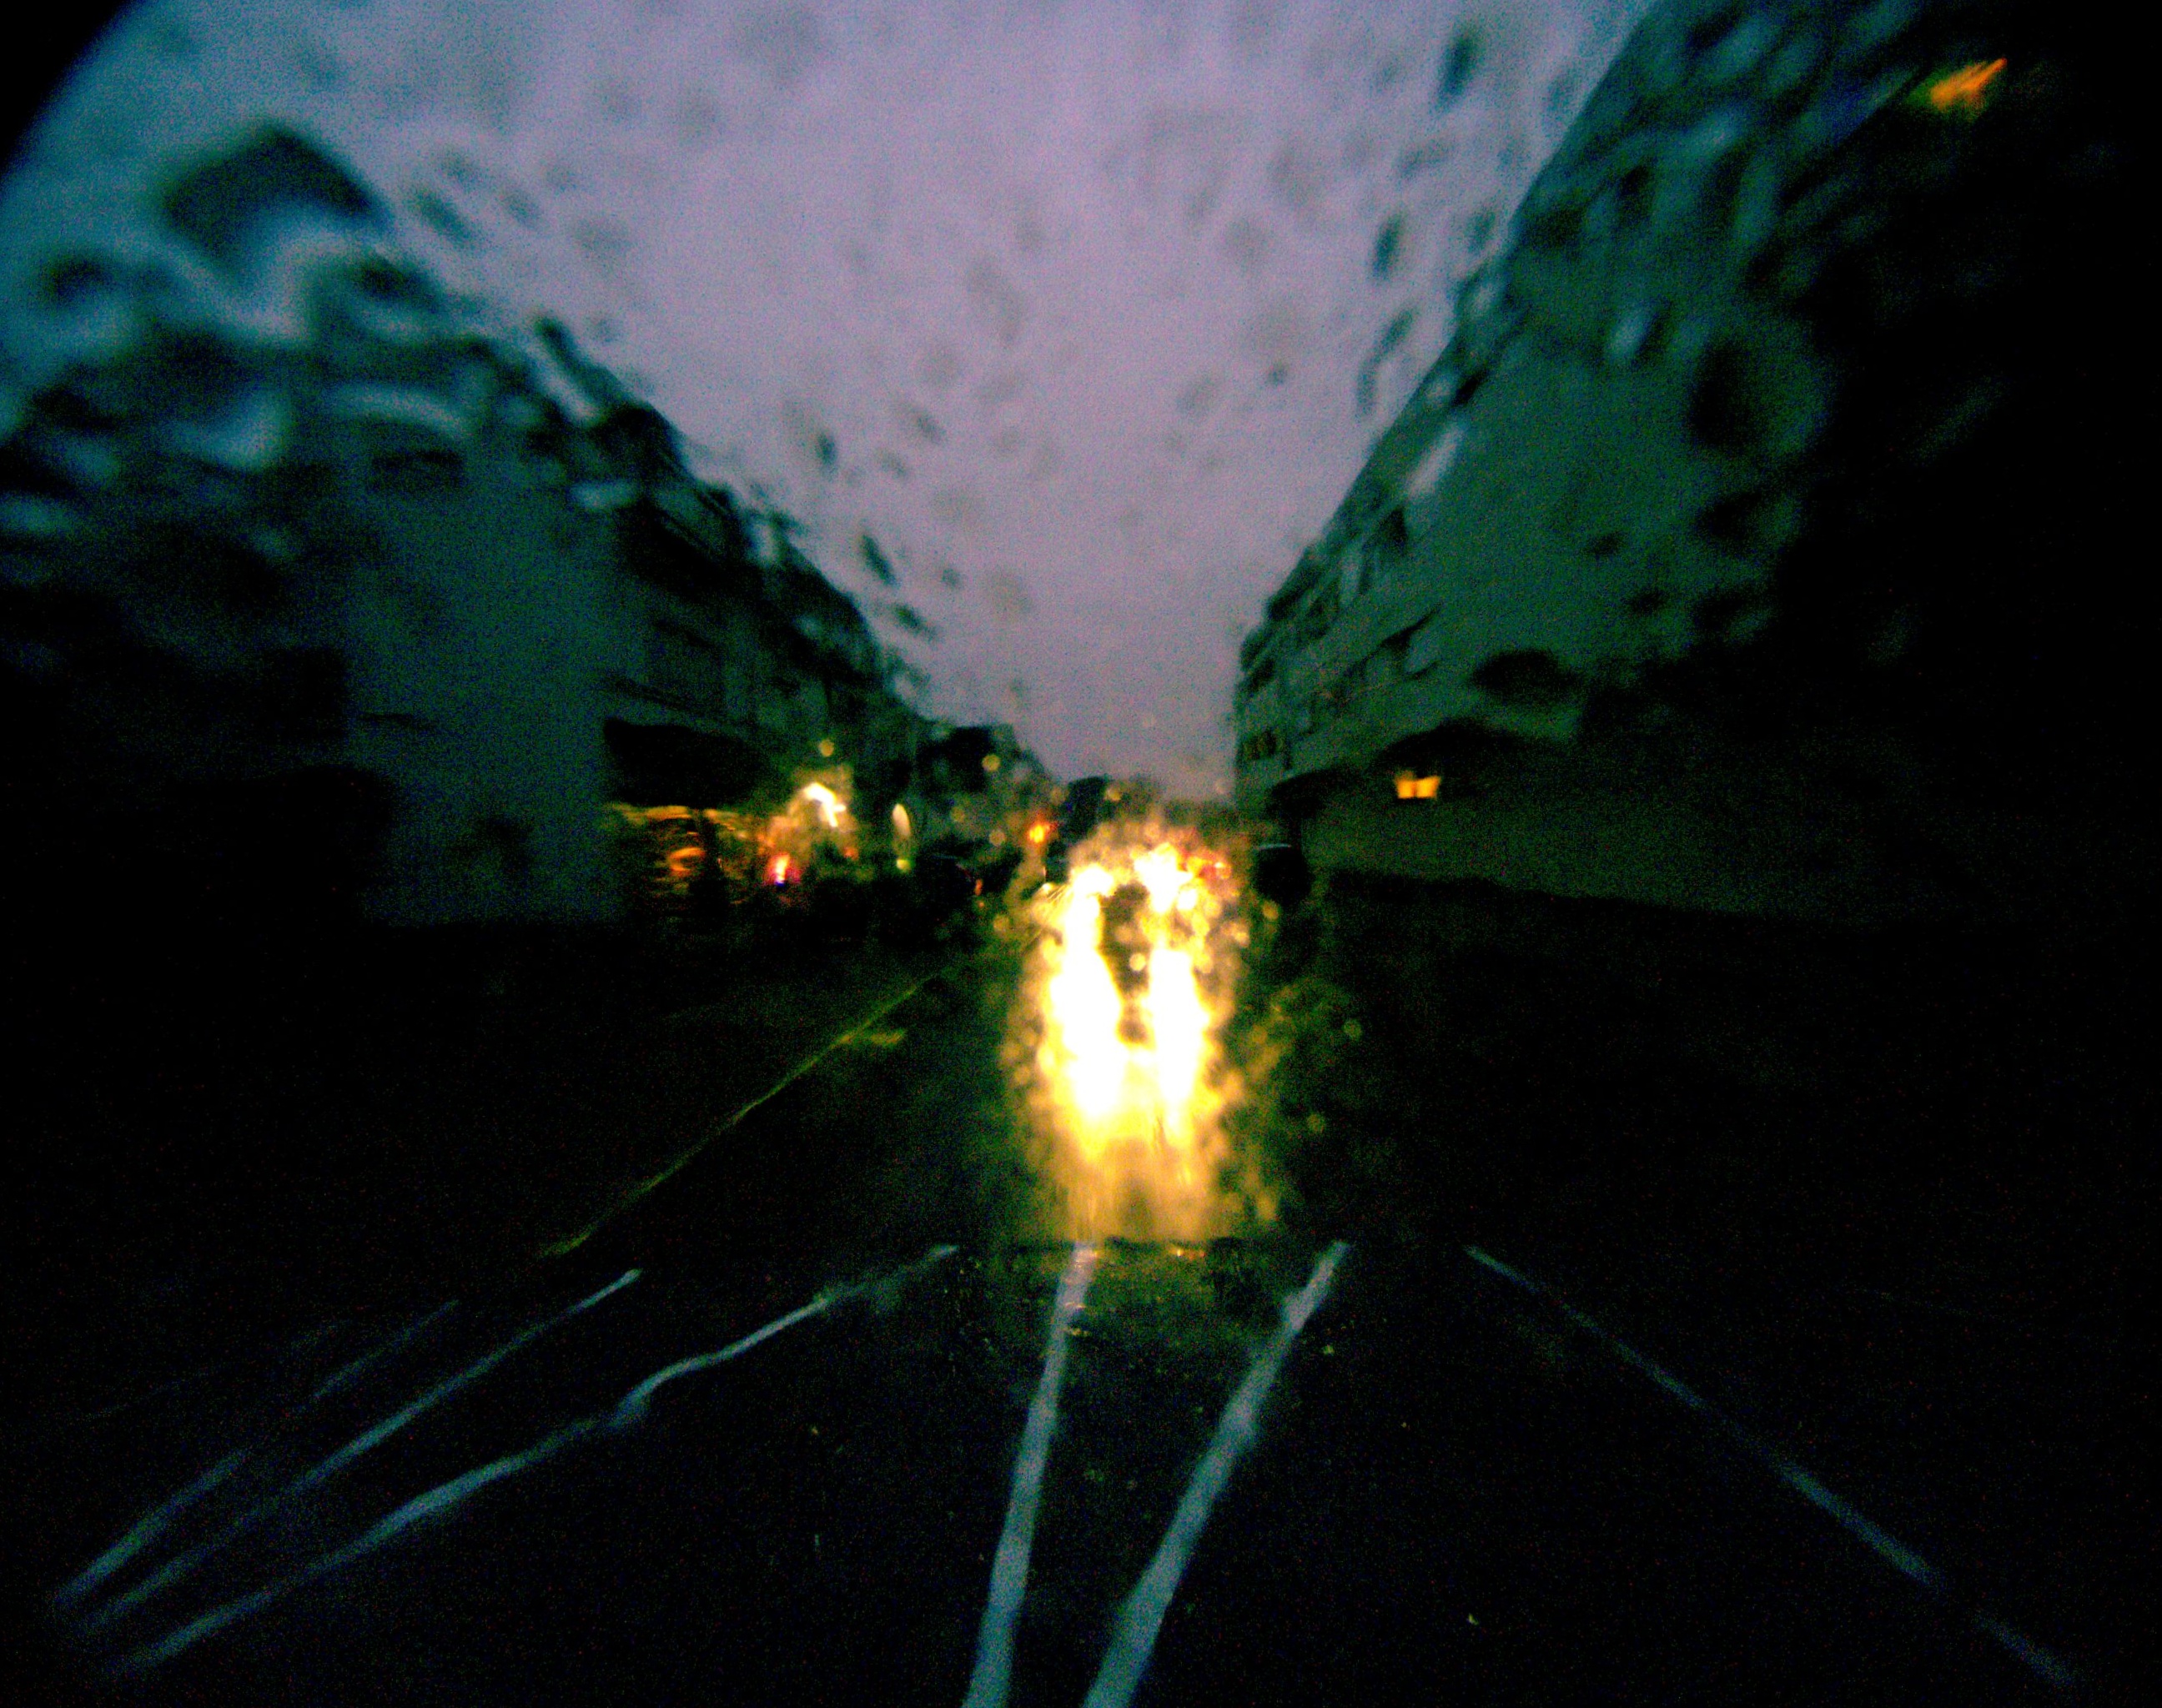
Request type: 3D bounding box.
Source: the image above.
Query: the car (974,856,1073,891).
[{"bbox_3d":[-2.293,0.774,30.931,3.887,1.359,1.551,0,0,2],"label":"car"}]

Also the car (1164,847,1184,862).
[{"bbox_3d":[11.150,0.043,90.840,1.921,1.608,3.872,-2,0,15],"label":"car"}]

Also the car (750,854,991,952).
[{"bbox_3d":[-3.593,0.822,13.482,3.852,1.618,1.611,0,0,-2],"label":"car"}]

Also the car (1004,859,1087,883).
[{"bbox_3d":[-1.684,0.825,36.803,3.887,1.121,1.551,0,0,2],"label":"car"}]

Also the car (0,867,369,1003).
[{"bbox_3d":[-11.838,0.951,9.599,3.997,1.521,1.745,-1,0,-1],"label":"car"}]

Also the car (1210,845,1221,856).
[{"bbox_3d":[26.059,-0.663,147.190,1.835,2.002,3.704,-2,0,15],"label":"car"}]

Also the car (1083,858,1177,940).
[{"bbox_3d":[1.133,0.873,16.279,1.730,1.475,3.605,-2,0,6],"label":"car"}]

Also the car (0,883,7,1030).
[{"bbox_3d":[-12.683,1.049,6.741,3.802,1.459,1.870,-1,1,3],"label":"car"}]

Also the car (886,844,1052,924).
[{"bbox_3d":[-2.679,0.704,18.881,3.889,1.866,1.868,0,0,-3],"label":"car"}]

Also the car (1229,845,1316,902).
[{"bbox_3d":[5.901,0.556,23.870,1.899,1.607,3.827,-2,0,3],"label":"car"}]

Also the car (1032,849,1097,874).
[{"bbox_3d":[-0.968,0.437,45.926,3.887,1.487,1.551,0,0,1],"label":"car"}]

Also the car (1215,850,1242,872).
[{"bbox_3d":[10.392,0.442,53.670,1.777,1.441,3.830,-2,0,10],"label":"car"}]

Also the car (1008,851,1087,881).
[{"bbox_3d":[-1.678,0.610,38.694,3.887,1.487,1.551,0,0,2],"label":"car"}]

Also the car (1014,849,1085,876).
[{"bbox_3d":[-1.756,0.483,43.094,3.887,1.487,1.551,0,0,1],"label":"car"}]

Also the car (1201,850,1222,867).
[{"bbox_3d":[12.226,0.386,71.190,1.777,1.441,3.829,-2,0,10],"label":"car"}]

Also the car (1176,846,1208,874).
[{"bbox_3d":[7.103,0.348,48.784,1.892,1.670,4.002,-2,0,8],"label":"car"}]

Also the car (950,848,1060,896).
[{"bbox_3d":[-2.800,0.656,28.539,3.887,1.722,1.714,0,0,2],"label":"car"}]
